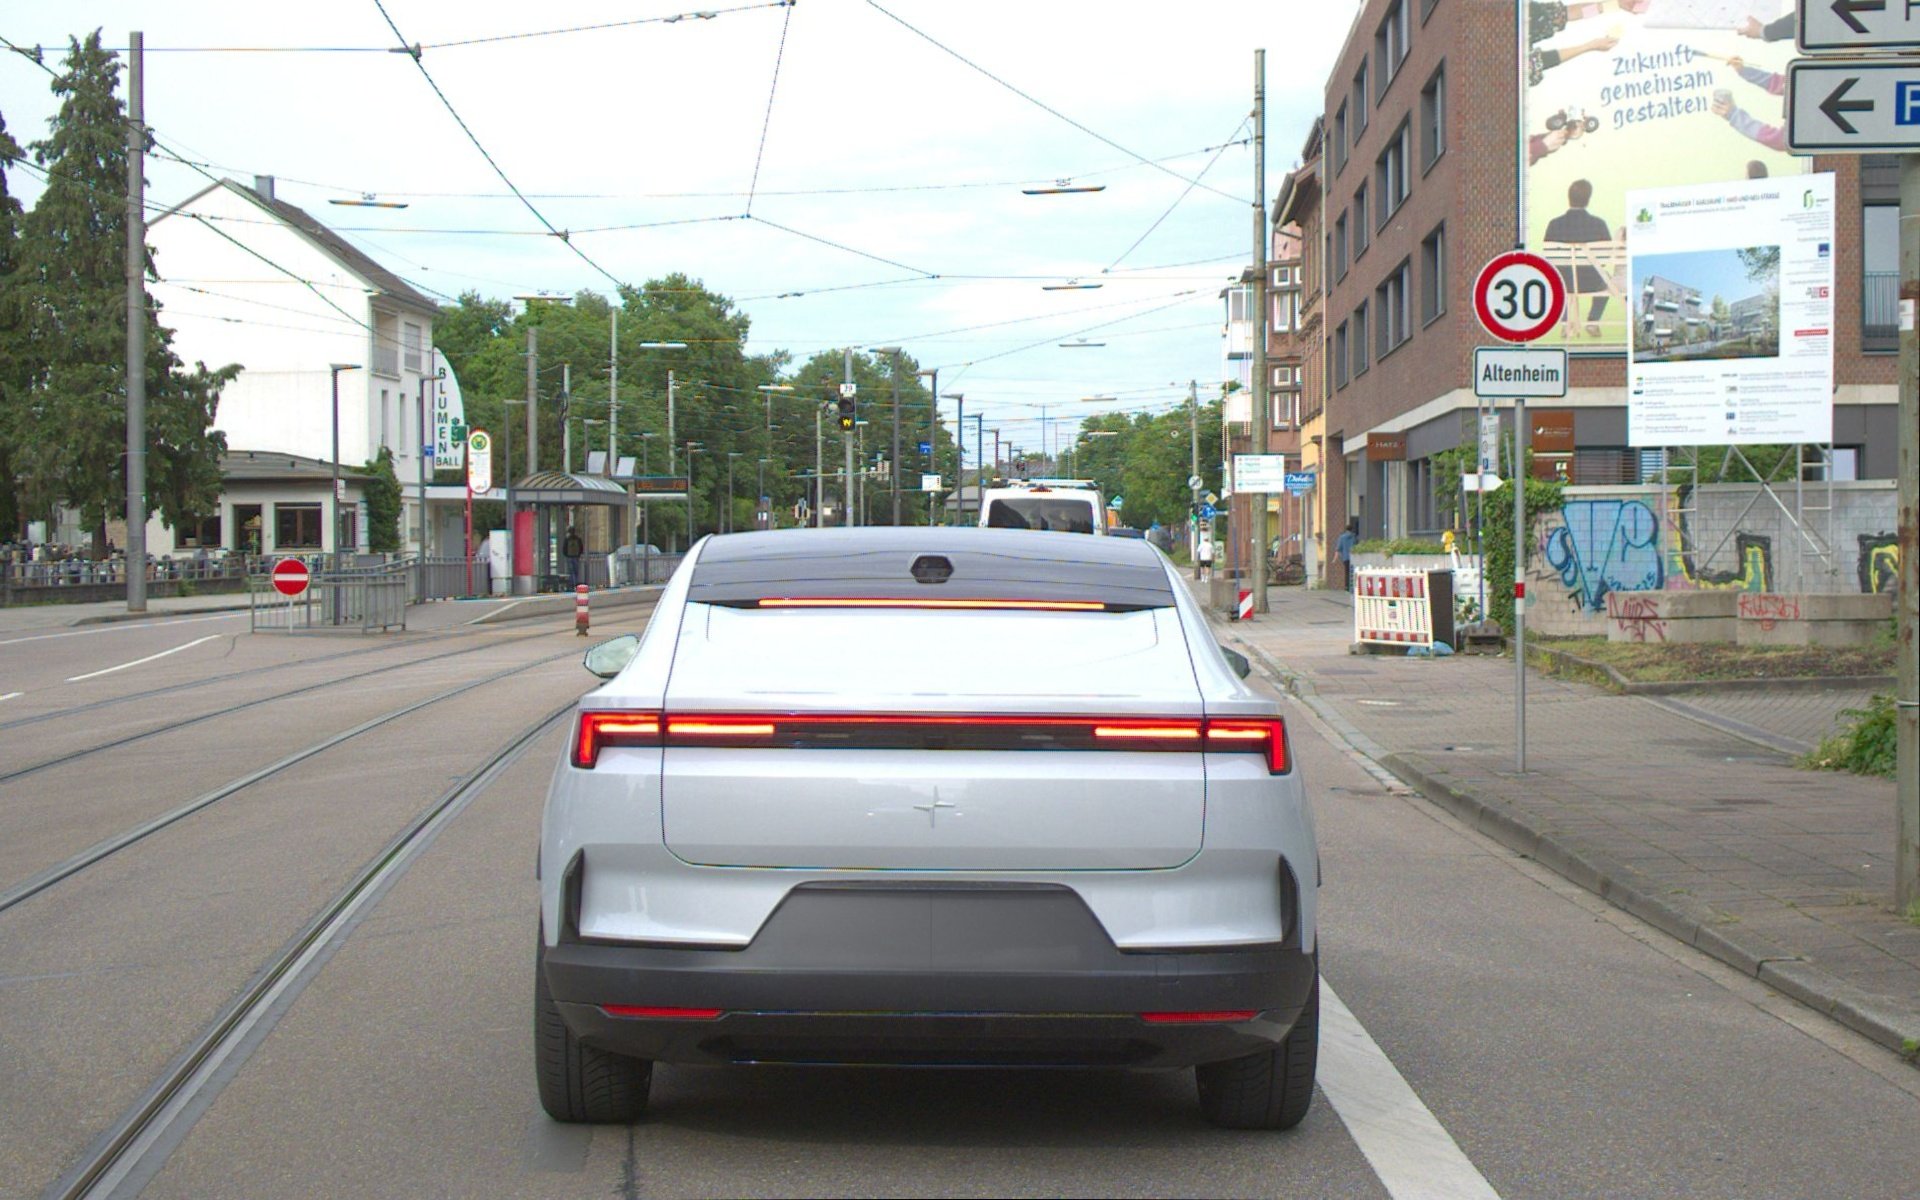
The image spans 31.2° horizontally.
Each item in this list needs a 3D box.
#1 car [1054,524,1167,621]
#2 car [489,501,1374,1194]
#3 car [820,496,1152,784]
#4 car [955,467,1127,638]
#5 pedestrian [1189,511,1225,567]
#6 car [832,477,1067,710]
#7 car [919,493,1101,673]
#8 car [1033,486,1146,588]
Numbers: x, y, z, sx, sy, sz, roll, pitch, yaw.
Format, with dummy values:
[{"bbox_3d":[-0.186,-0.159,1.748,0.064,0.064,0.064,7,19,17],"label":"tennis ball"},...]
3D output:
[{"bbox_3d":[2.928,-0.538,67.501,1.874,1.817,4.097,1,0,-2],"label":"car"},{"bbox_3d":[-0.224,0.533,9.877,1.981,1.544,4.184,1,1,-5],"label":"car"},{"bbox_3d":[0.087,0.236,23.259,1.968,1.750,3.838,1,0,-3],"label":"car"},{"bbox_3d":[1.165,-0.699,52.000,2.216,2.415,4.952,1,0,-2],"label":"car"},{"bbox_3d":[8.985,-2.217,125.143,1.219,2.007,0.934,-1,1,-1],"label":"pedestrian"},{"bbox_3d":[-0.164,-0.074,32.159,1.993,2.007,4.000,1,0,-3],"label":"car"},{"bbox_3d":[0.544,-0.206,41.120,1.993,2.007,4.000,1,0,-1],"label":"car"},{"bbox_3d":[2.818,-1.364,75.766,2.139,2.138,4.744,1,0,-2],"label":"car"}]
